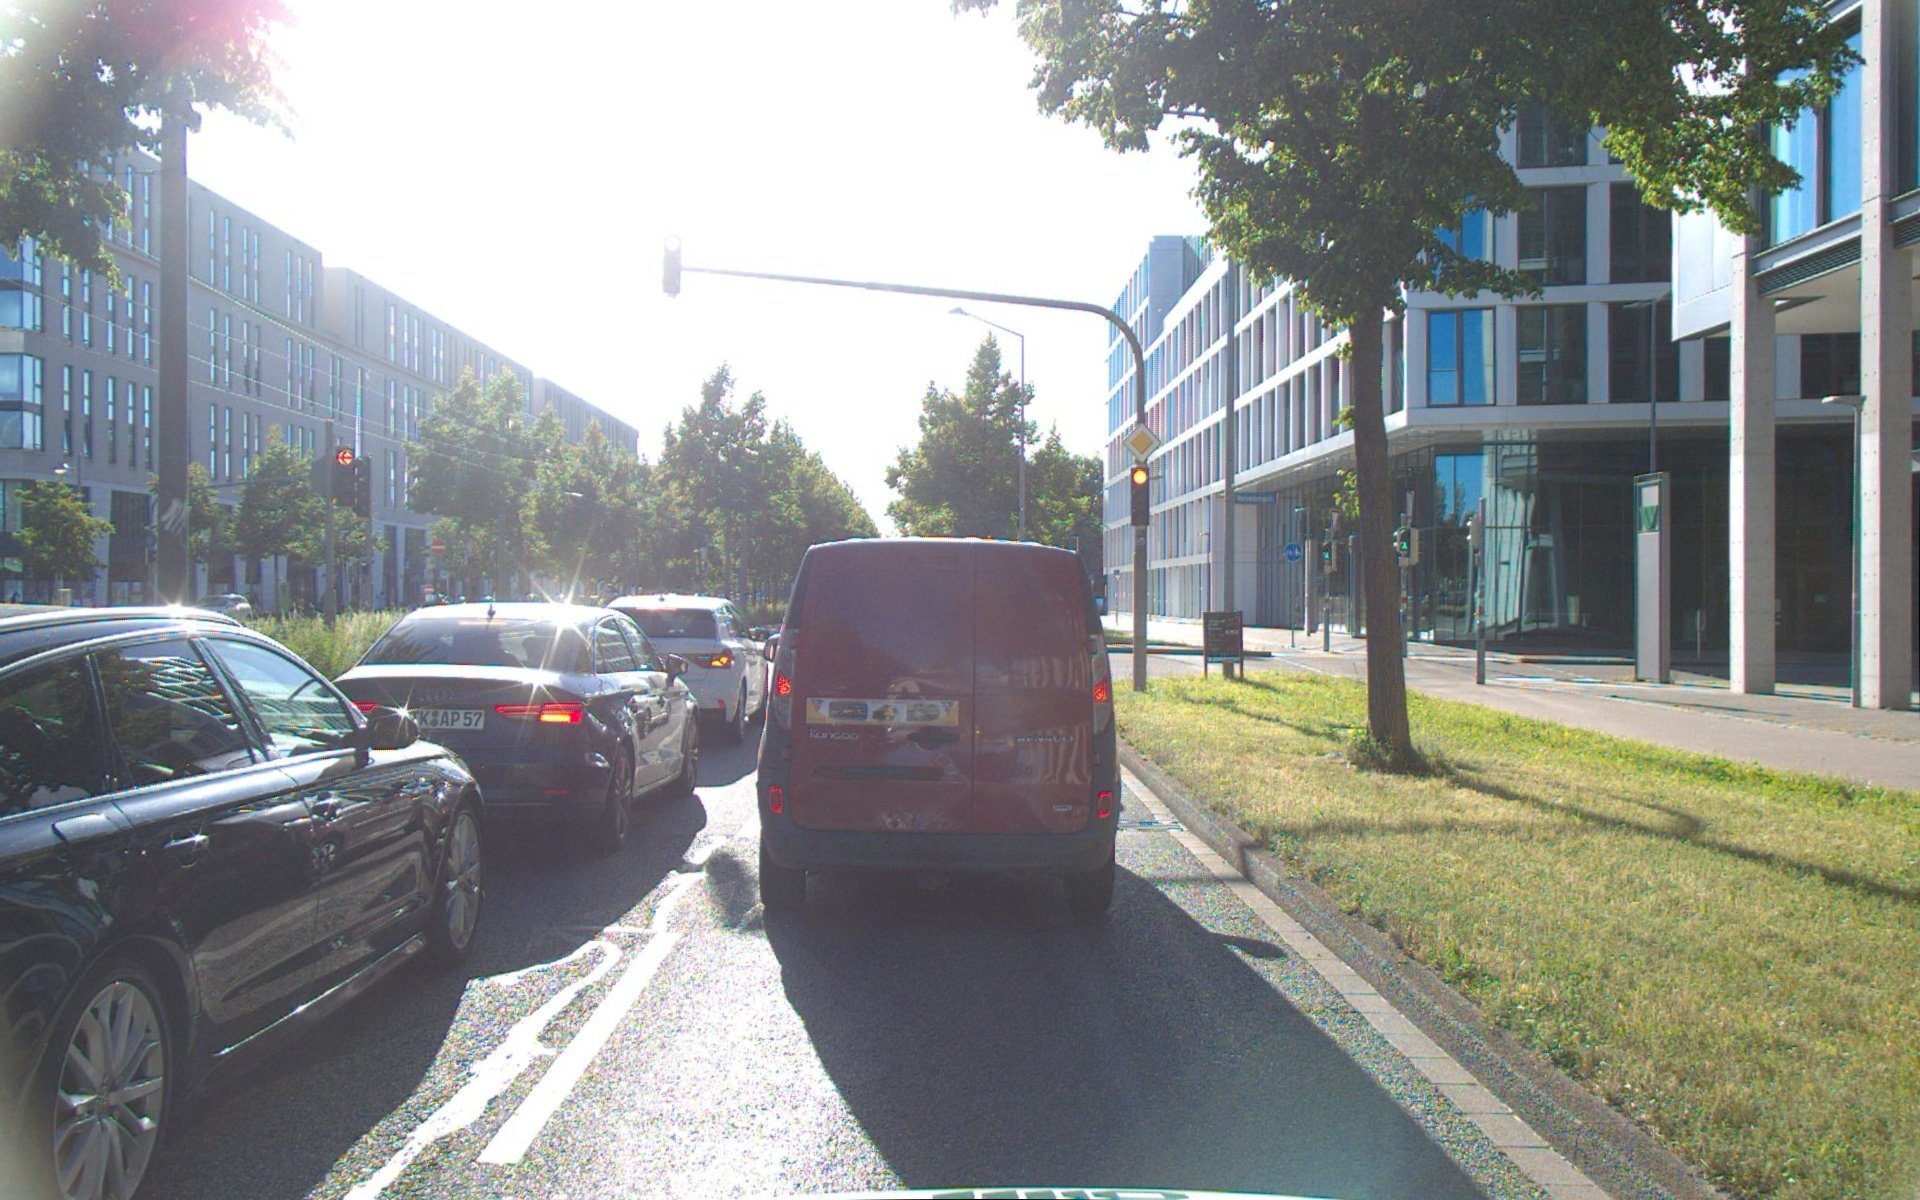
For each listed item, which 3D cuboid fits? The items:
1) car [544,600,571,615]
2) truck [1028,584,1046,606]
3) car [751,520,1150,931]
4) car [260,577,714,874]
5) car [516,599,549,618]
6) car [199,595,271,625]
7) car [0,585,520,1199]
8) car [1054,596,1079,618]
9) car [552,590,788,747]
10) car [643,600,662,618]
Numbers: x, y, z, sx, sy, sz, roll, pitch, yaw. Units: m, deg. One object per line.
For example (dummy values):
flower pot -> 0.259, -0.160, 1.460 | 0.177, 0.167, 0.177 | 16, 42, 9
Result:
car -> -36.188, 0.652, 148.796 | 1.548, 1.366, 3.711 | 0, 0, -1
truck -> 9.263, -0.547, 198.967 | 1.794, 2.545, 5.930 | 0, 0, -1
car -> -0.043, 0.549, 9.416 | 1.771, 1.825, 4.113 | 0, 0, 0
car -> -2.785, 0.649, 10.733 | 1.771, 1.554, 4.113 | 0, 0, 0
car -> -35.183, 0.659, 136.214 | 1.740, 1.555, 3.805 | 0, 0, -1
car -> -34.578, 0.462, 79.016 | 1.548, 1.366, 4.470 | 0, 0, -1
car -> -2.736, 0.702, 4.821 | 1.771, 1.482, 4.507 | 0, 0, -1
car -> 8.201, 0.540, 127.984 | 1.722, 1.640, 3.903 | 0, 0, 0
car -> -2.910, 0.625, 17.451 | 1.771, 1.460, 4.113 | 0, 0, 0
car -> -36.787, 1.102, 198.053 | 1.694, 2.049, 3.998 | 0, 0, -3
